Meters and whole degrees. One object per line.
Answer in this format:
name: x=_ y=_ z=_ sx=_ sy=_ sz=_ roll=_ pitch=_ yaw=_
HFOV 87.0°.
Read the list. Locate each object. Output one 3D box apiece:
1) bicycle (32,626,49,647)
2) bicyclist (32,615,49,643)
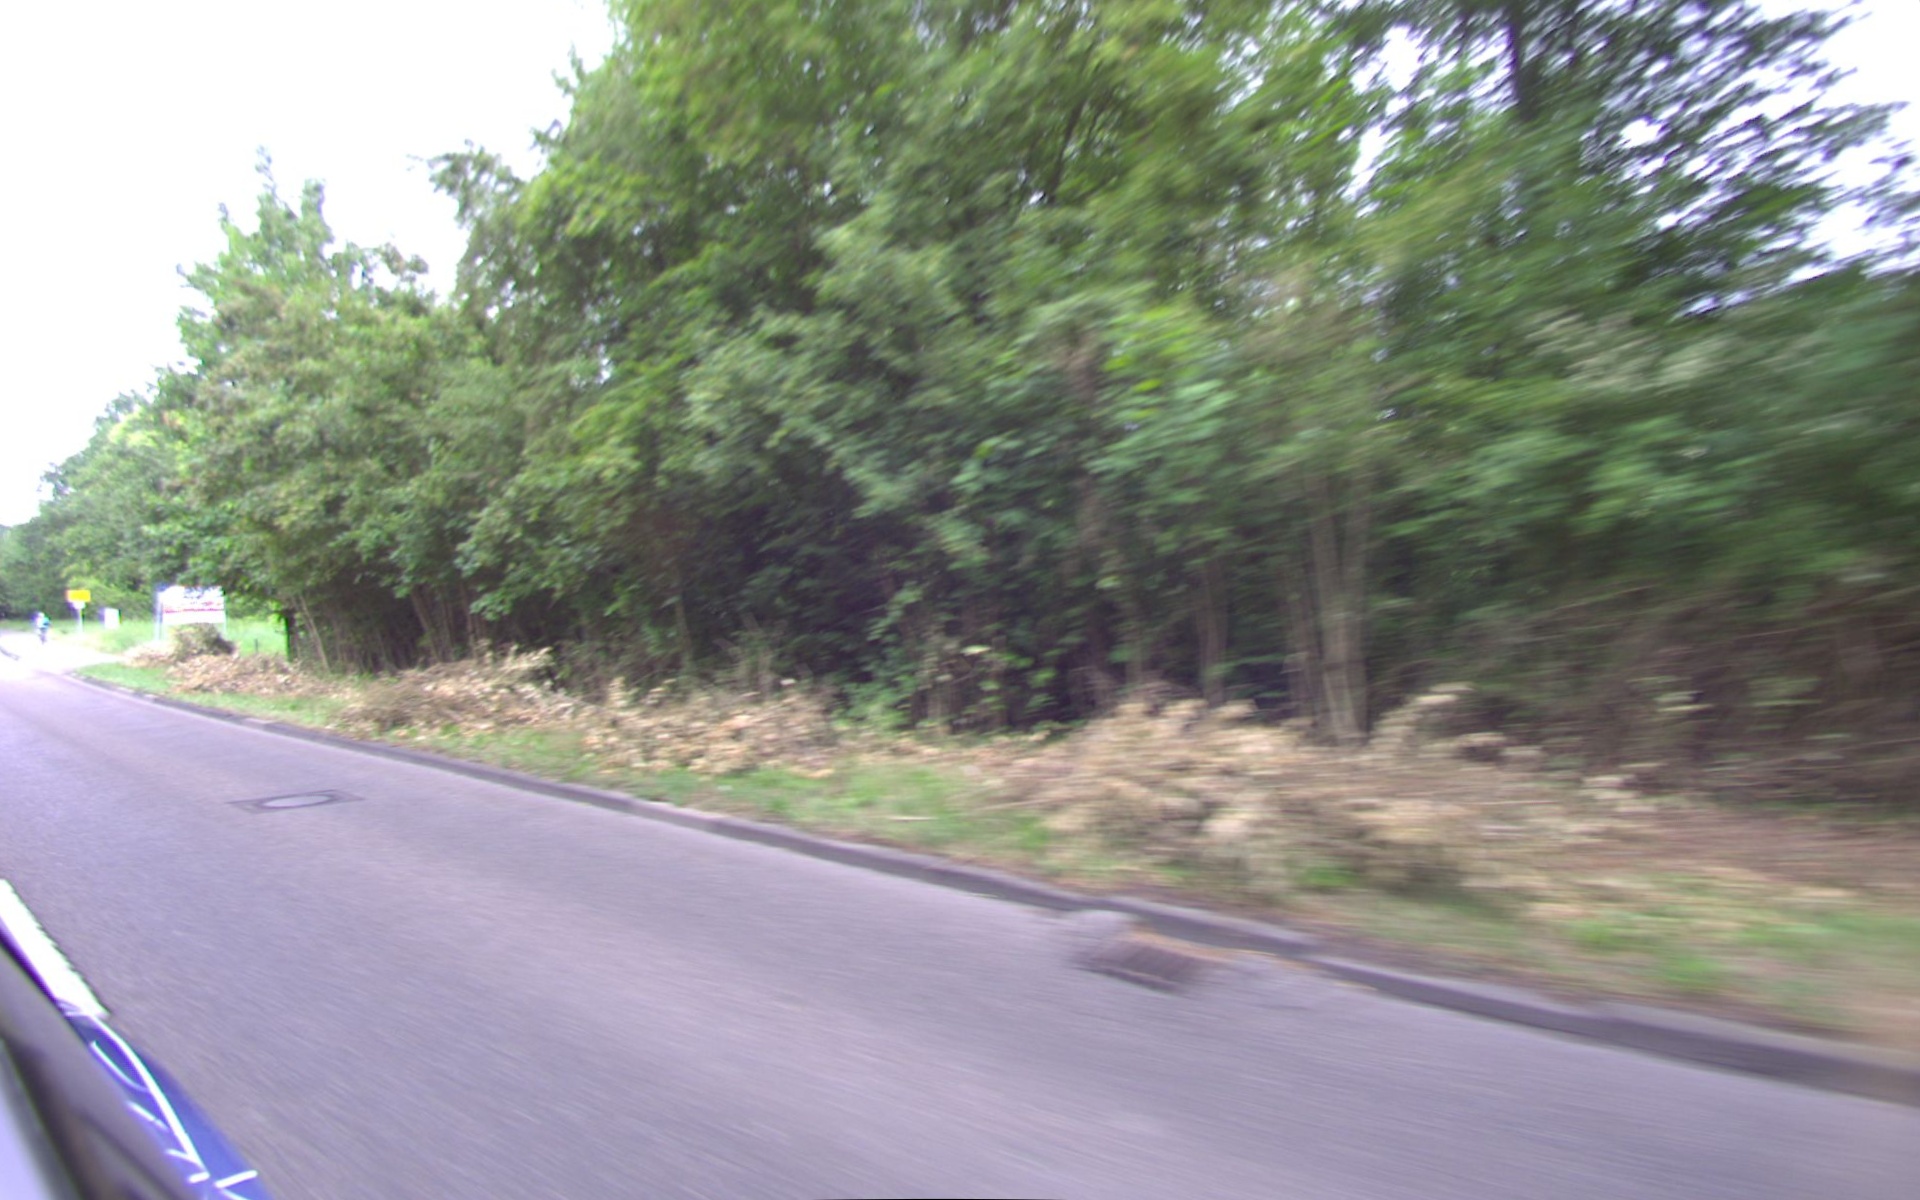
bicycle: x=-50.741 y=2.003 z=55.854 sx=0.657 sy=1.082 sz=2.148 roll=-2 pitch=0 yaw=-42
bicyclist: x=-50.750 y=1.600 z=55.856 sx=0.657 sy=1.531 sz=1.272 roll=-2 pitch=0 yaw=-42
